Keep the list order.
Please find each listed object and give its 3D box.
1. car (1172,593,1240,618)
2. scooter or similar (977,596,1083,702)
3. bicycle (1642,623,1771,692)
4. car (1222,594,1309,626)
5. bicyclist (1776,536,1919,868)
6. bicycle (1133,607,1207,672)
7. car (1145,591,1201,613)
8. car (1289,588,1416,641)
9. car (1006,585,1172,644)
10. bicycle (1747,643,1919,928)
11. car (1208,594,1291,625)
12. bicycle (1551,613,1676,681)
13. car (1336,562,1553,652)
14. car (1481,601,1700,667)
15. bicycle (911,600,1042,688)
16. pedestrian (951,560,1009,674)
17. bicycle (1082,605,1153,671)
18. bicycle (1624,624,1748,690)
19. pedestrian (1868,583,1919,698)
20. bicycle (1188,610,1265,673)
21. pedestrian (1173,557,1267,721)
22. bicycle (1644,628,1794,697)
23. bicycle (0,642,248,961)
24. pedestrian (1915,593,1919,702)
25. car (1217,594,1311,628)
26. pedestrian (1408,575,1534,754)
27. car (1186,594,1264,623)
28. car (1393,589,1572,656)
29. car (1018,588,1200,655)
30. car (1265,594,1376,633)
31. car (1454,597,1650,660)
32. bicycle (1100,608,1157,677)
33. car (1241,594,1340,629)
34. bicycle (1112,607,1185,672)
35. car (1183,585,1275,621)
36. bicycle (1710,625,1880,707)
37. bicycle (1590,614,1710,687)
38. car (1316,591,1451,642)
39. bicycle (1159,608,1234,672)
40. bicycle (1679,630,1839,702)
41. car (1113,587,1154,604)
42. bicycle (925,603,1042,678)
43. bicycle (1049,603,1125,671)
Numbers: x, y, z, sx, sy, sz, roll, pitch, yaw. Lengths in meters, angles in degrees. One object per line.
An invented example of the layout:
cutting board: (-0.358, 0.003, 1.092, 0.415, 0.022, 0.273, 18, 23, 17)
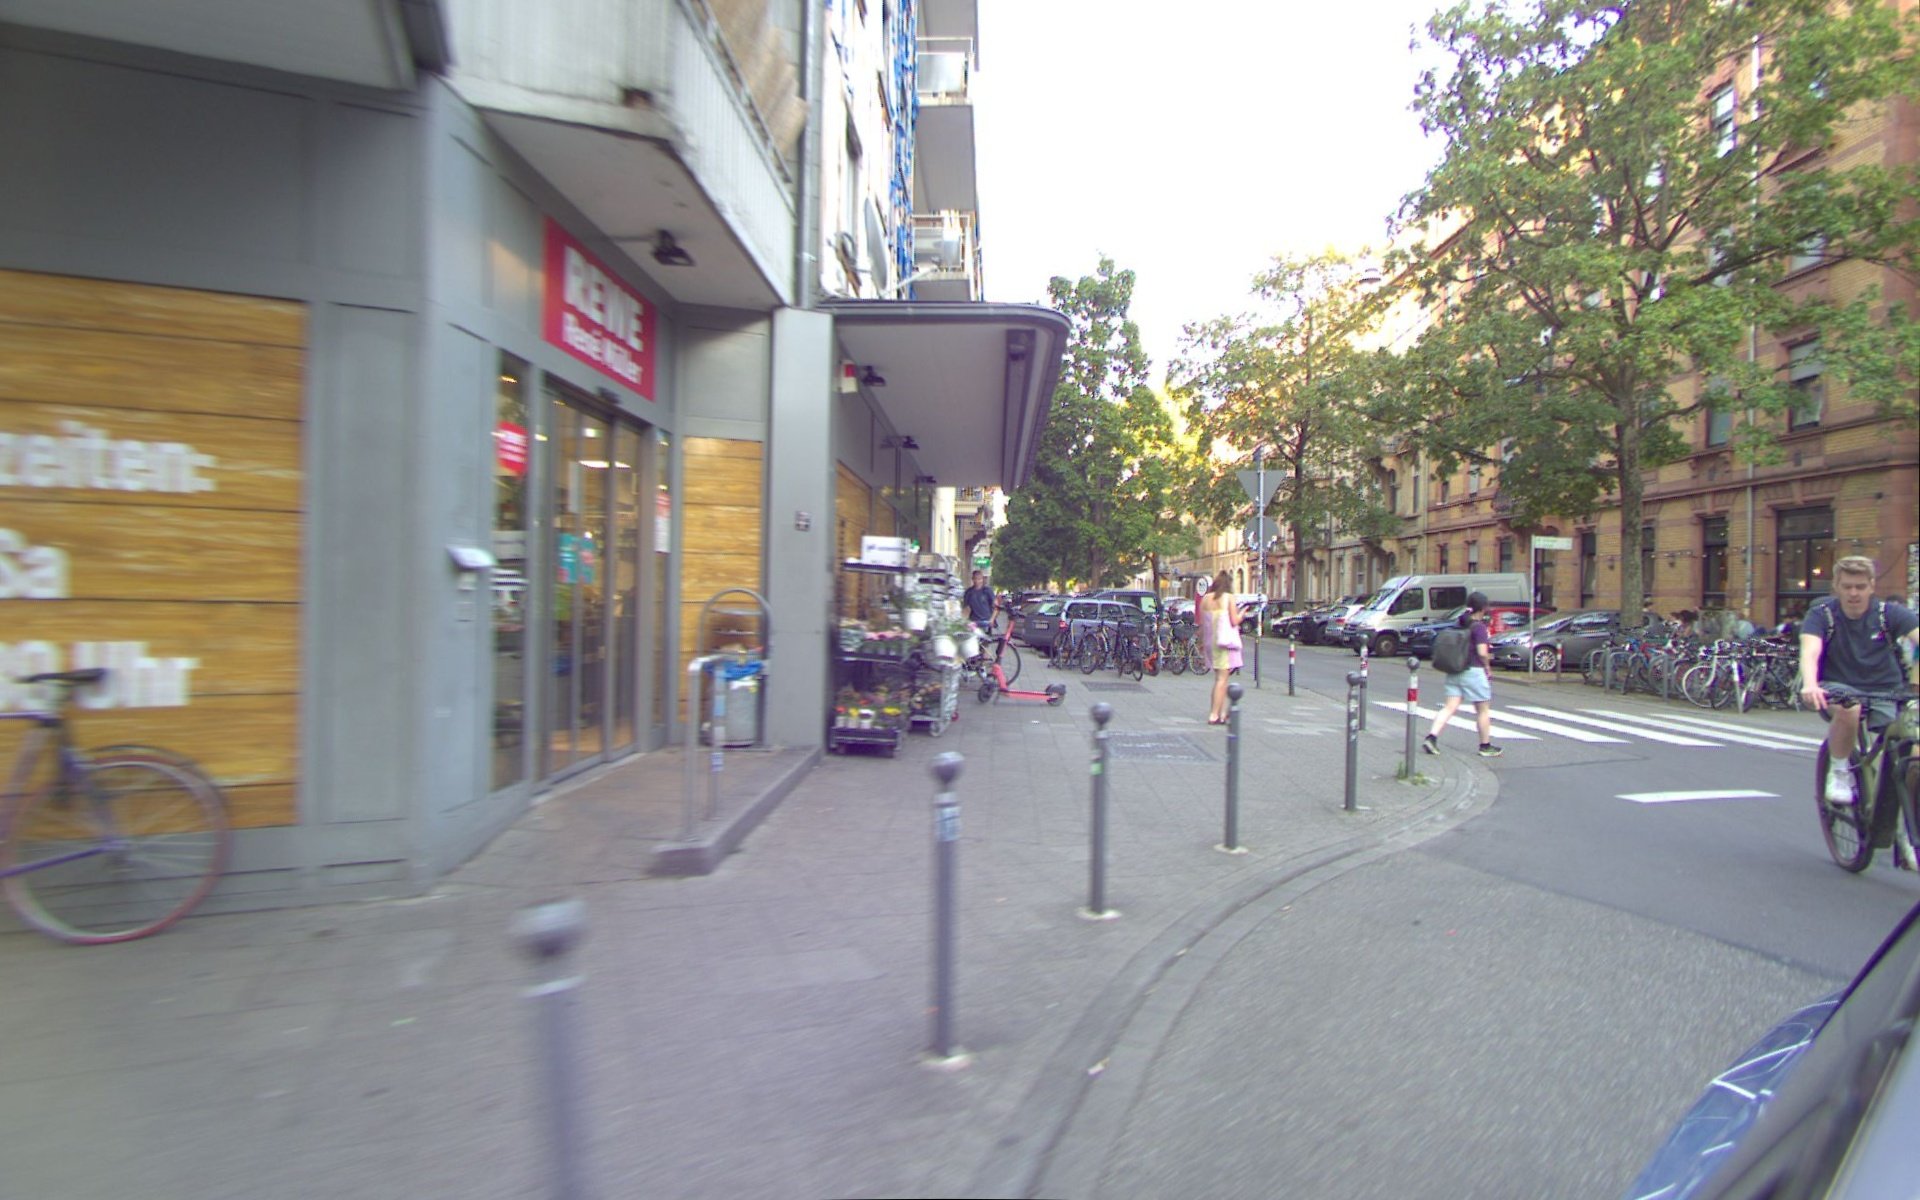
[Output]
car: (15.622, 0.343, 64.461, 3.837, 1.553, 1.792, 0, 0, 0)
scooter or similar: (0.857, 0.598, 12.524, 1.207, 1.248, 0.416, 2, 0, -6)
bicycle: (12.818, 0.971, 17.391, 1.845, 1.091, 0.714, 0, 0, -11)
car: (15.411, 0.478, 51.126, 3.794, 1.556, 1.734, 0, 0, -2)
bicyclist: (4.808, 0.496, 5.223, 0.787, 1.592, 0.818, 0, -1, 29)
bicycle: (4.017, 0.737, 19.520, 0.558, 1.095, 1.788, 2, 1, -17)
car: (16.132, 0.172, 76.872, 3.837, 1.618, 1.792, 0, 0, 0)
car: (14.268, 0.505, 36.959, 3.903, 1.847, 1.850, 0, 0, 3)
car: (3.603, 0.344, 27.939, 4.366, 1.506, 1.951, -1, 0, -34)
bicycle: (4.799, 0.835, 5.214, 0.787, 1.154, 2.319, 0, -1, 28)
car: (15.202, 0.496, 53.279, 3.794, 1.556, 1.734, 0, 0, -2)
bicycle: (12.480, 0.883, 19.379, 1.854, 1.255, 0.710, 0, 0, 11)
car: (14.346, 0.193, 30.224, 5.385, 2.487, 2.120, -1, 0, 1)
car: (14.269, 0.751, 23.056, 3.903, 1.438, 1.627, 0, 0, 3)
bicycle: (0.232, 0.611, 14.607, 1.761, 1.140, 0.606, 3, 1, 20)
pedestrian: (0.324, 0.253, 16.193, 0.844, 1.737, 0.768, 2, 1, 2)
bicycle: (2.928, 0.688, 18.991, 0.558, 1.095, 1.788, 2, 1, -17)
bicycle: (12.883, 0.993, 17.977, 1.845, 1.091, 0.714, 0, 0, -11)
pedestrian: (14.851, 0.617, 15.912, 0.628, 1.767, 0.675, 0, 0, -30)
bicycle: (5.199, 0.785, 19.884, 0.558, 1.095, 1.788, 2, 1, -17)
pedestrian: (2.924, 0.416, 11.377, 0.701, 1.767, 0.692, 2, 1, -44)
bicycle: (12.382, 1.016, 16.554, 1.851, 1.071, 0.711, 0, 0, 5)
bicycle: (-3.568, 0.691, 3.497, 1.746, 1.037, 0.459, 0, 0, -23)
pedestrian: (14.914, 0.728, 15.153, 0.631, 1.658, 0.672, 0, 0, 15)
car: (14.552, 0.502, 48.635, 3.898, 1.556, 1.852, 0, 0, -2)
pedestrian: (4.831, 0.598, 9.591, 0.850, 1.627, 0.540, 2, 0, -10)
car: (14.757, 0.444, 56.485, 3.794, 1.556, 1.734, 0, 0, -2)
car: (14.187, 0.599, 27.641, 3.903, 1.683, 1.762, -1, 0, 3)
car: (3.696, 0.468, 24.826, 4.366, 1.506, 1.793, -1, 0, -34)
car: (14.922, 0.547, 41.999, 3.898, 1.556, 1.852, 0, 0, -2)
car: (14.812, 0.700, 25.470, 3.903, 1.521, 1.627, 0, 0, 3)
bicycle: (2.918, 0.708, 17.690, 0.558, 1.096, 1.785, 2, 0, -4)
car: (15.111, 0.514, 46.439, 3.898, 1.556, 1.852, 0, 0, -2)
bicycle: (3.531, 0.717, 19.123, 0.558, 1.095, 1.788, 2, 1, -17)
car: (15.742, 0.175, 59.352, 4.756, 2.037, 2.203, 0, 0, -1)
bicycle: (12.415, 0.965, 15.091, 1.851, 1.169, 0.711, 0, 0, 5)
bicycle: (12.605, 0.909, 18.509, 1.845, 1.255, 0.714, 0, 0, -11)
car: (14.606, 0.559, 35.063, 3.903, 1.683, 1.762, 0, 0, 3)
bicycle: (4.580, 0.751, 19.706, 0.558, 1.095, 1.788, 2, 1, -17)
bicycle: (12.446, 1.017, 15.801, 1.851, 1.065, 0.711, 0, 0, 5)
car: (17.685, -0.447, 103.253, 3.837, 1.650, 1.792, 0, 0, 0)
bicycle: (0.380, 0.626, 16.214, 1.761, 1.069, 0.566, 3, 1, 20)
bicycle: (2.306, 0.654, 18.596, 0.669, 1.125, 1.788, 2, 1, -17)
